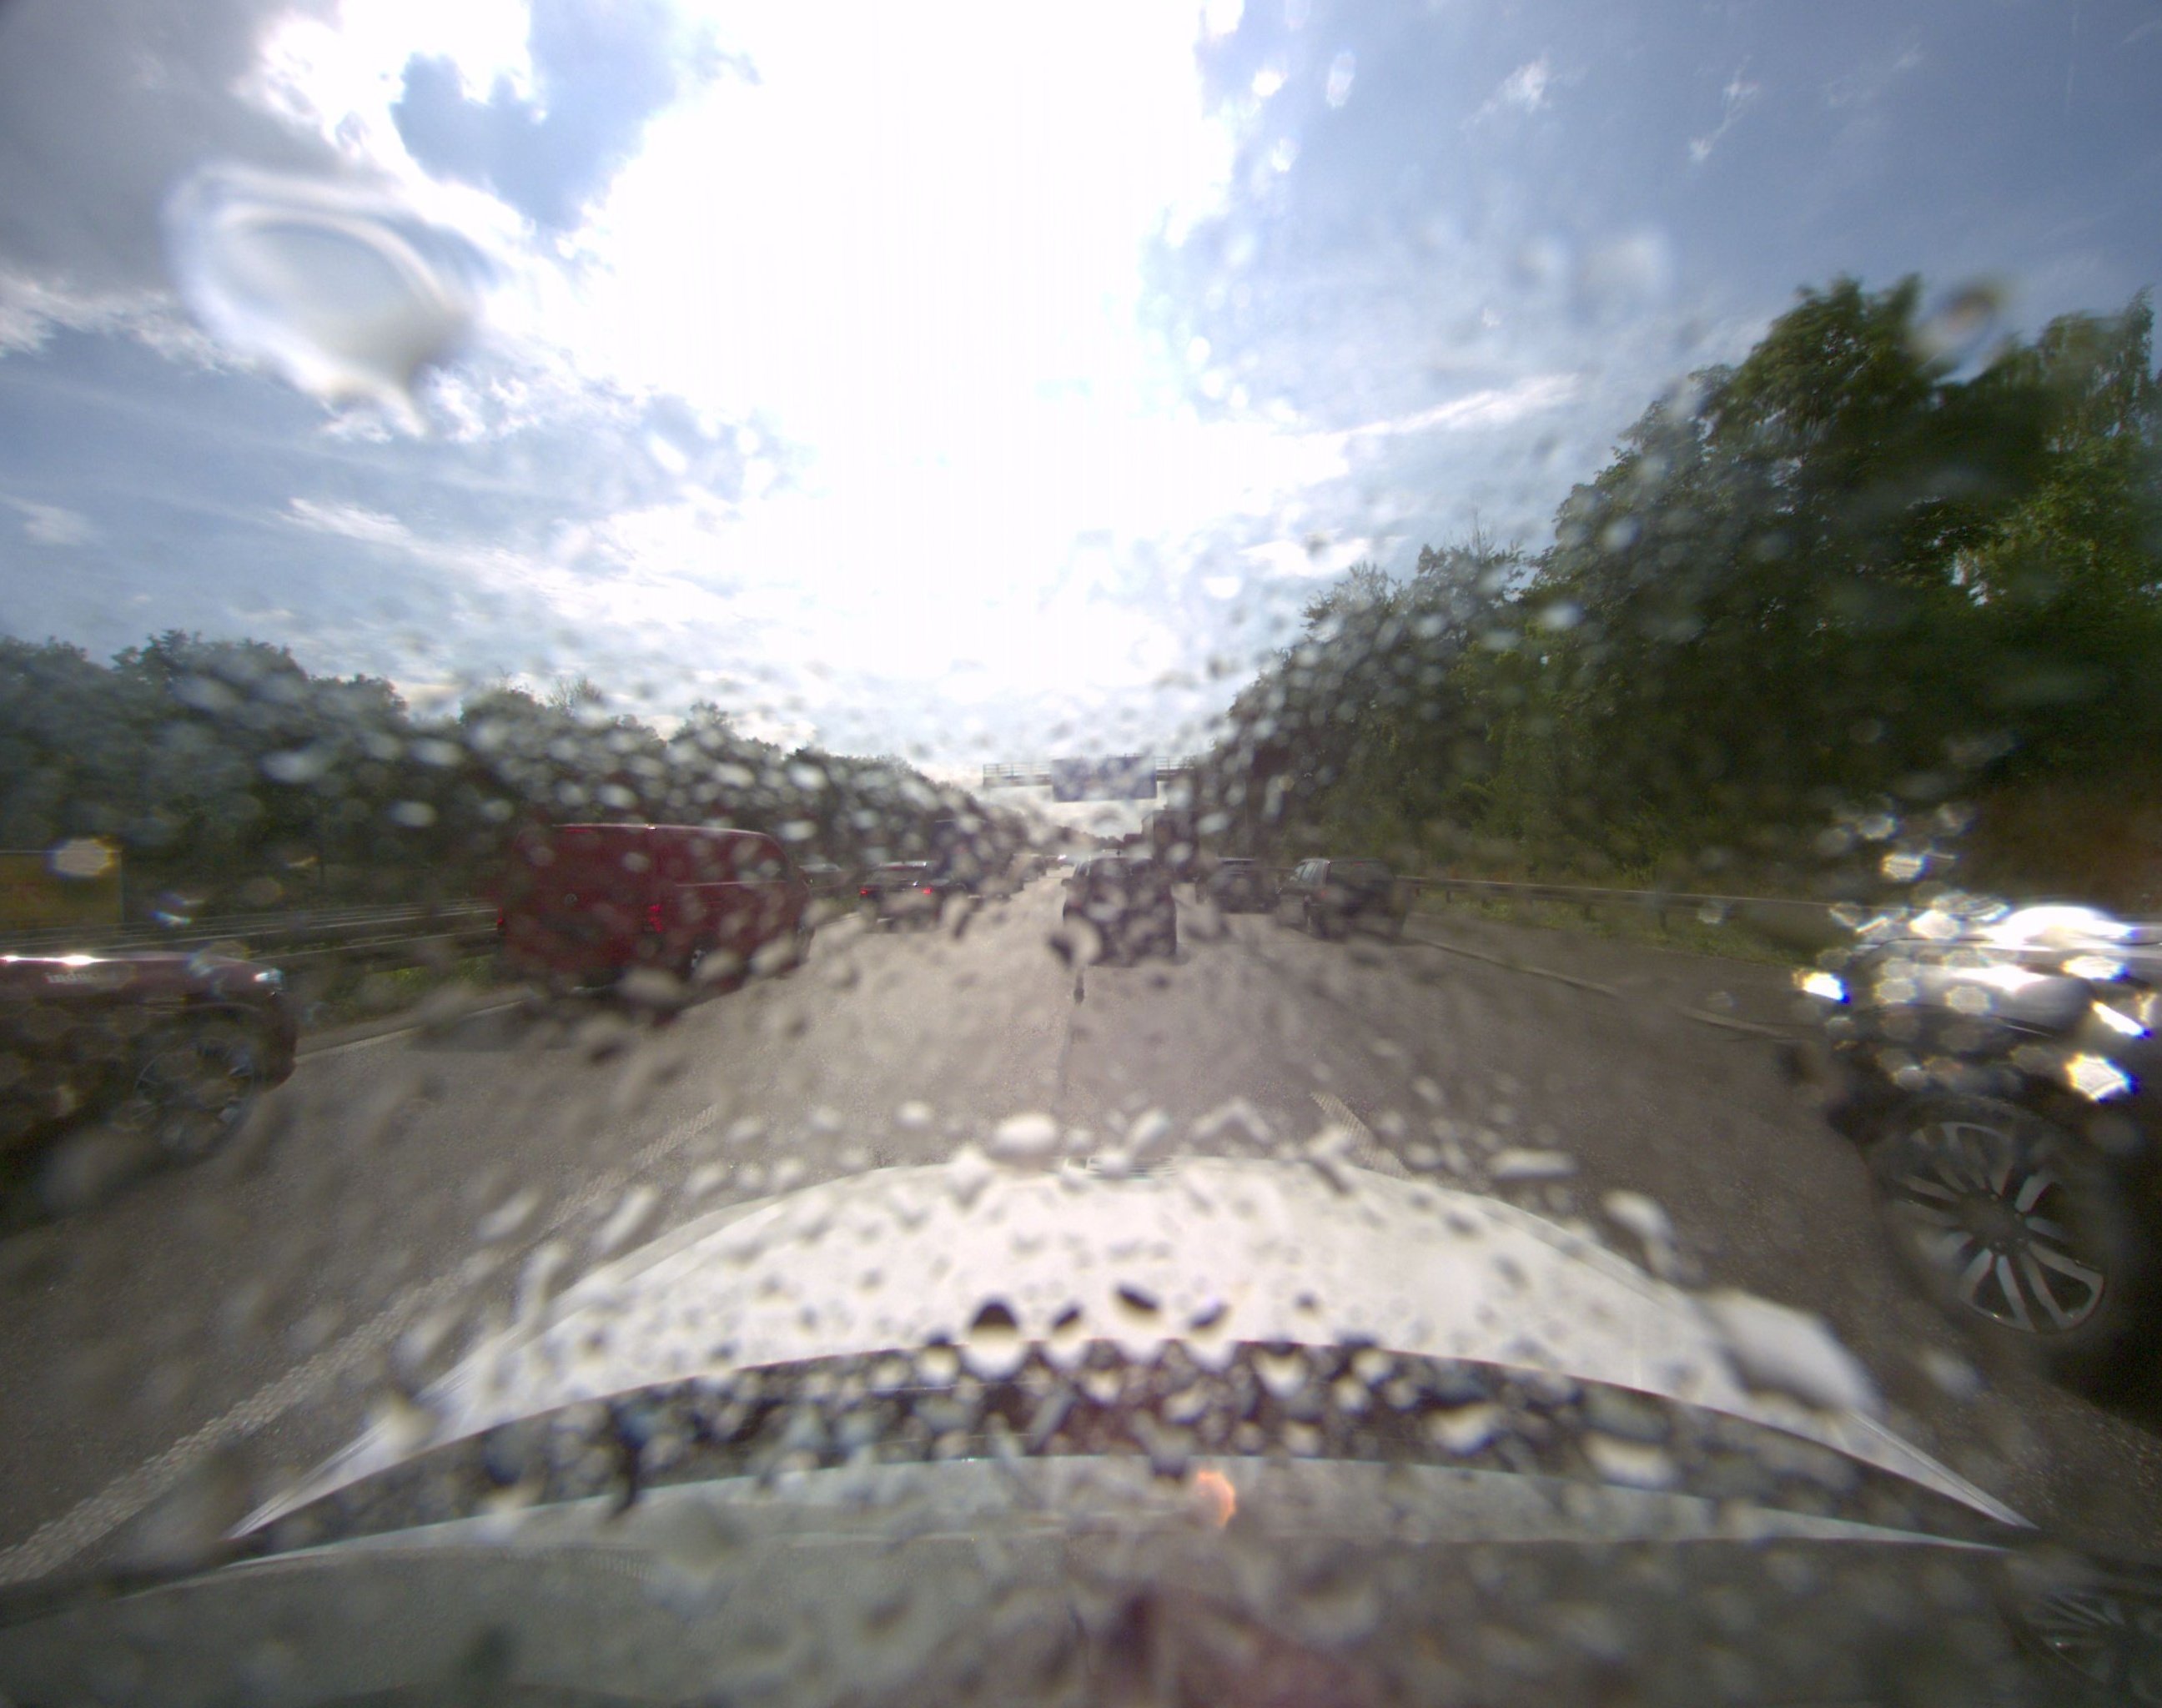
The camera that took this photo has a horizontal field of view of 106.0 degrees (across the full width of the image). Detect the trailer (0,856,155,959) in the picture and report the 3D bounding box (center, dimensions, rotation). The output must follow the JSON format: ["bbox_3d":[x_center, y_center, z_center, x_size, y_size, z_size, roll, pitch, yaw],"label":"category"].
[{"bbox_3d":[-45.331,2.162,31.691,3.760,4.117,11.771,-1,-1,15],"label":"trailer"}]

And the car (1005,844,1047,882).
[{"bbox_3d":[-3.211,0.533,48.659,1.986,2.115,4.891,-1,-1,2],"label":"car"}]

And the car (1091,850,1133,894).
[{"bbox_3d":[1.313,0.757,35.835,1.687,1.805,3.975,0,-1,0],"label":"car"}]

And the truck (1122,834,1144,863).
[{"bbox_3d":[6.746,-0.657,106.477,2.765,3.631,5.919,-1,-1,2],"label":"truck"}]

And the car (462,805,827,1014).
[{"bbox_3d":[-5.070,0.571,10.447,1.971,2.054,4.758,-1,-1,2],"label":"car"}]

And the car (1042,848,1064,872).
[{"bbox_3d":[-2.963,0.639,86.864,1.986,2.385,5.262,-1,-1,2],"label":"car"}]

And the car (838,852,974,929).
[{"bbox_3d":[-3.923,0.762,19.147,1.986,1.564,4.758,-1,0,2],"label":"car"}]

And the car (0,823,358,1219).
[{"bbox_3d":[-5.439,0.707,2.707,1.902,1.636,4.616,-1,-1,0],"label":"car"}]

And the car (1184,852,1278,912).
[{"bbox_3d":[4.098,0.730,22.906,1.859,1.516,3.974,0,-1,-1],"label":"car"}]

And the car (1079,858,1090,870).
[{"bbox_3d":[0.742,1.895,154.959,1.986,2.115,4.891,-1,-1,2],"label":"car"}]

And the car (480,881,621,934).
[{"bbox_3d":[-20.706,2.020,32.130,2.044,1.775,5.210,-1,0,1],"label":"car"}]

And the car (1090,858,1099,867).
[{"bbox_3d":[3.173,2.126,195.507,1.986,2.115,4.891,-1,-1,2],"label":"car"}]

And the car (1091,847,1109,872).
[{"bbox_3d":[2.207,0.633,92.417,1.986,2.746,5.262,-1,-1,2],"label":"car"}]

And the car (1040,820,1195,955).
[{"bbox_3d":[0.541,0.511,14.420,2.267,1.954,4.820,-1,-1,0],"label":"car"}]

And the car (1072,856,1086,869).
[{"bbox_3d":[-0.256,1.362,129.495,1.986,2.115,4.891,-1,-1,2],"label":"car"}]

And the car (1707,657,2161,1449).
[{"bbox_3d":[3.558,0.465,0.582,1.935,1.919,5.652,-1,0,1],"label":"car"}]

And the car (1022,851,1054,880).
[{"bbox_3d":[-3.235,0.883,62.191,1.986,2.115,4.891,-1,-1,2],"label":"car"}]

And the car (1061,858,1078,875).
[{"bbox_3d":[-1.465,1.614,106.282,1.986,2.115,4.891,-1,-1,2],"label":"car"}]

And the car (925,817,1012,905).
[{"bbox_3d":[-3.596,0.233,27.054,1.986,2.615,5.262,-1,-1,2],"label":"car"}]

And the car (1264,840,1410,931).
[{"bbox_3d":[4.761,0.541,15.713,1.585,1.516,3.976,-1,-1,0],"label":"car"}]

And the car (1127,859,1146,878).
[{"bbox_3d":[6.287,1.600,92.688,1.986,2.115,4.891,-1,-1,2],"label":"car"}]

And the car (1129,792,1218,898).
[{"bbox_3d":[5.625,-0.443,53.670,4.387,5.830,16.824,-1,0,2],"label":"car"}]

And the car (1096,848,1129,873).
[{"bbox_3d":[1.927,0.402,51.250,1.859,1.516,3.974,0,-1,-1],"label":"car"}]
